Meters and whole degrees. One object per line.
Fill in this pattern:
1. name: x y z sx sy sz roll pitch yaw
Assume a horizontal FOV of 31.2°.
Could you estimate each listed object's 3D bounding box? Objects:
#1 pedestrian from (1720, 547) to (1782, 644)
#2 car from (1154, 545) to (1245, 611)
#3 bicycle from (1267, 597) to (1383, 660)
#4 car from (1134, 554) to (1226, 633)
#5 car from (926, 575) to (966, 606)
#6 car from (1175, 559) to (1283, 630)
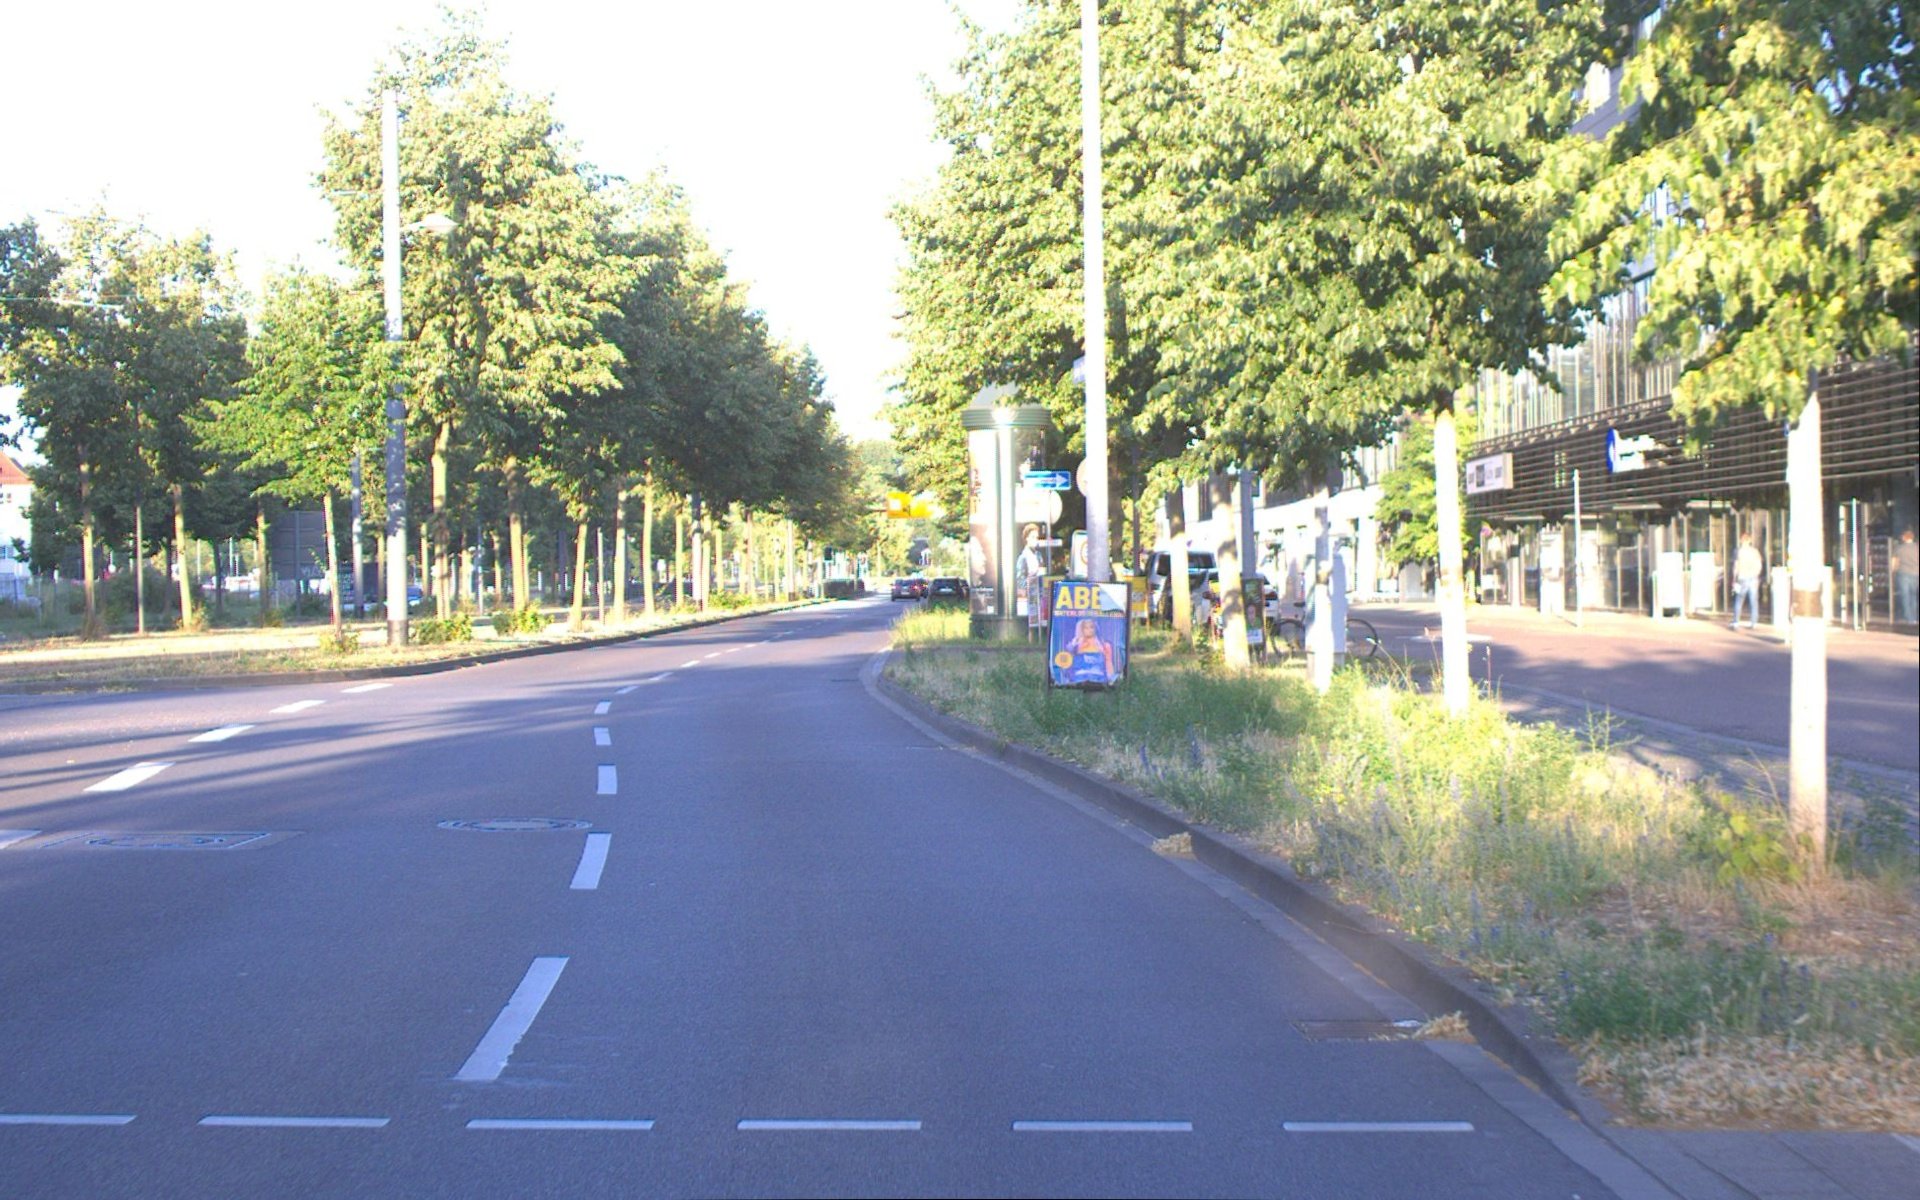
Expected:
1. pedestrian: 14.769 -0.082 64.213 0.896 1.790 0.912 -1 0 -1
2. car: 5.627 -0.526 81.239 1.859 1.491 4.290 -1 1 0
3. bicycle: 5.372 0.424 50.682 1.721 0.907 0.361 0 1 33
4. car: 5.644 -0.173 88.688 1.986 1.982 4.932 0 0 -1
5. car: -0.683 -0.447 168.593 1.911 1.481 4.000 0 0 -1
6. car: 5.858 -0.117 75.384 1.917 1.491 5.041 0 0 -1
